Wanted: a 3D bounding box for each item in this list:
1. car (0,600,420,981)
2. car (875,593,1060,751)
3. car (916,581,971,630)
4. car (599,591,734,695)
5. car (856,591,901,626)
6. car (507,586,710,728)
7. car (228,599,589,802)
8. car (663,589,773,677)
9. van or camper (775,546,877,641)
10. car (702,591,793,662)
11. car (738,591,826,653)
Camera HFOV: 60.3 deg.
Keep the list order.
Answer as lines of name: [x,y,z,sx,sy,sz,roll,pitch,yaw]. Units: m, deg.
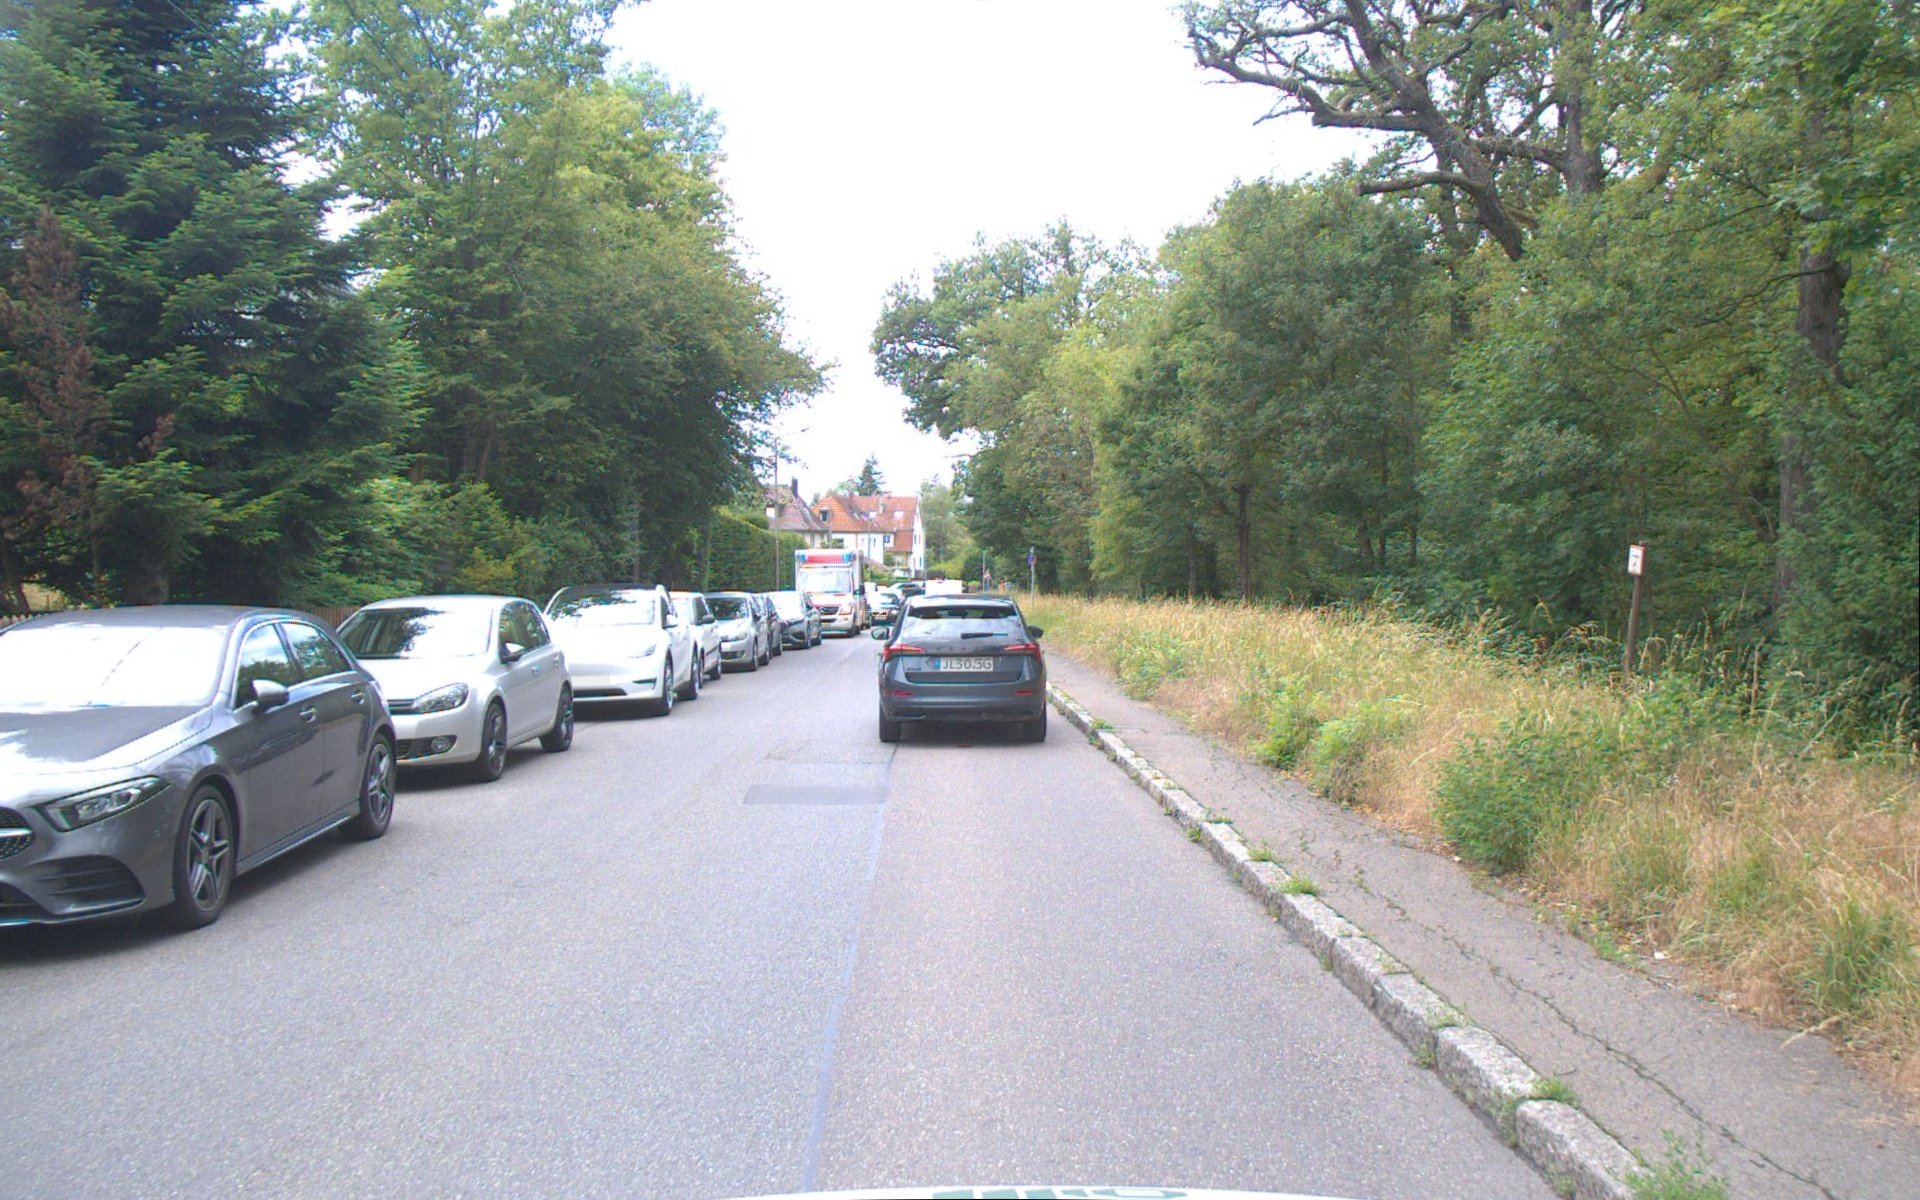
car: [-4.229,0.754,8.563,1.700,1.464,4.259,-1,0,-4]
car: [-0.034,0.679,17.929,1.694,1.464,4.320,1,1,-4]
car: [-0.739,0.196,69.650,2.031,1.956,4.918,1,0,-4]
car: [-4.772,0.646,27.365,1.686,1.531,3.815,-2,0,-3]
car: [-3.526,0.335,72.144,1.727,1.471,4.473,-1,0,0]
car: [-4.458,0.649,21.643,1.878,1.589,4.601,-2,0,-3]
car: [-4.578,0.748,14.405,1.797,1.464,4.116,-1,0,-1]
car: [-4.612,0.601,31.985,1.686,1.531,4.005,-2,0,-3]
van or camper: [-4.355,-0.218,55.186,2.405,2.945,7.171,-1,0,3]
car: [-4.949,0.585,38.956,1.686,1.531,4.059,-2,0,-2]
car: [-4.768,0.556,44.869,1.761,1.531,4.863,-2,0,1]
